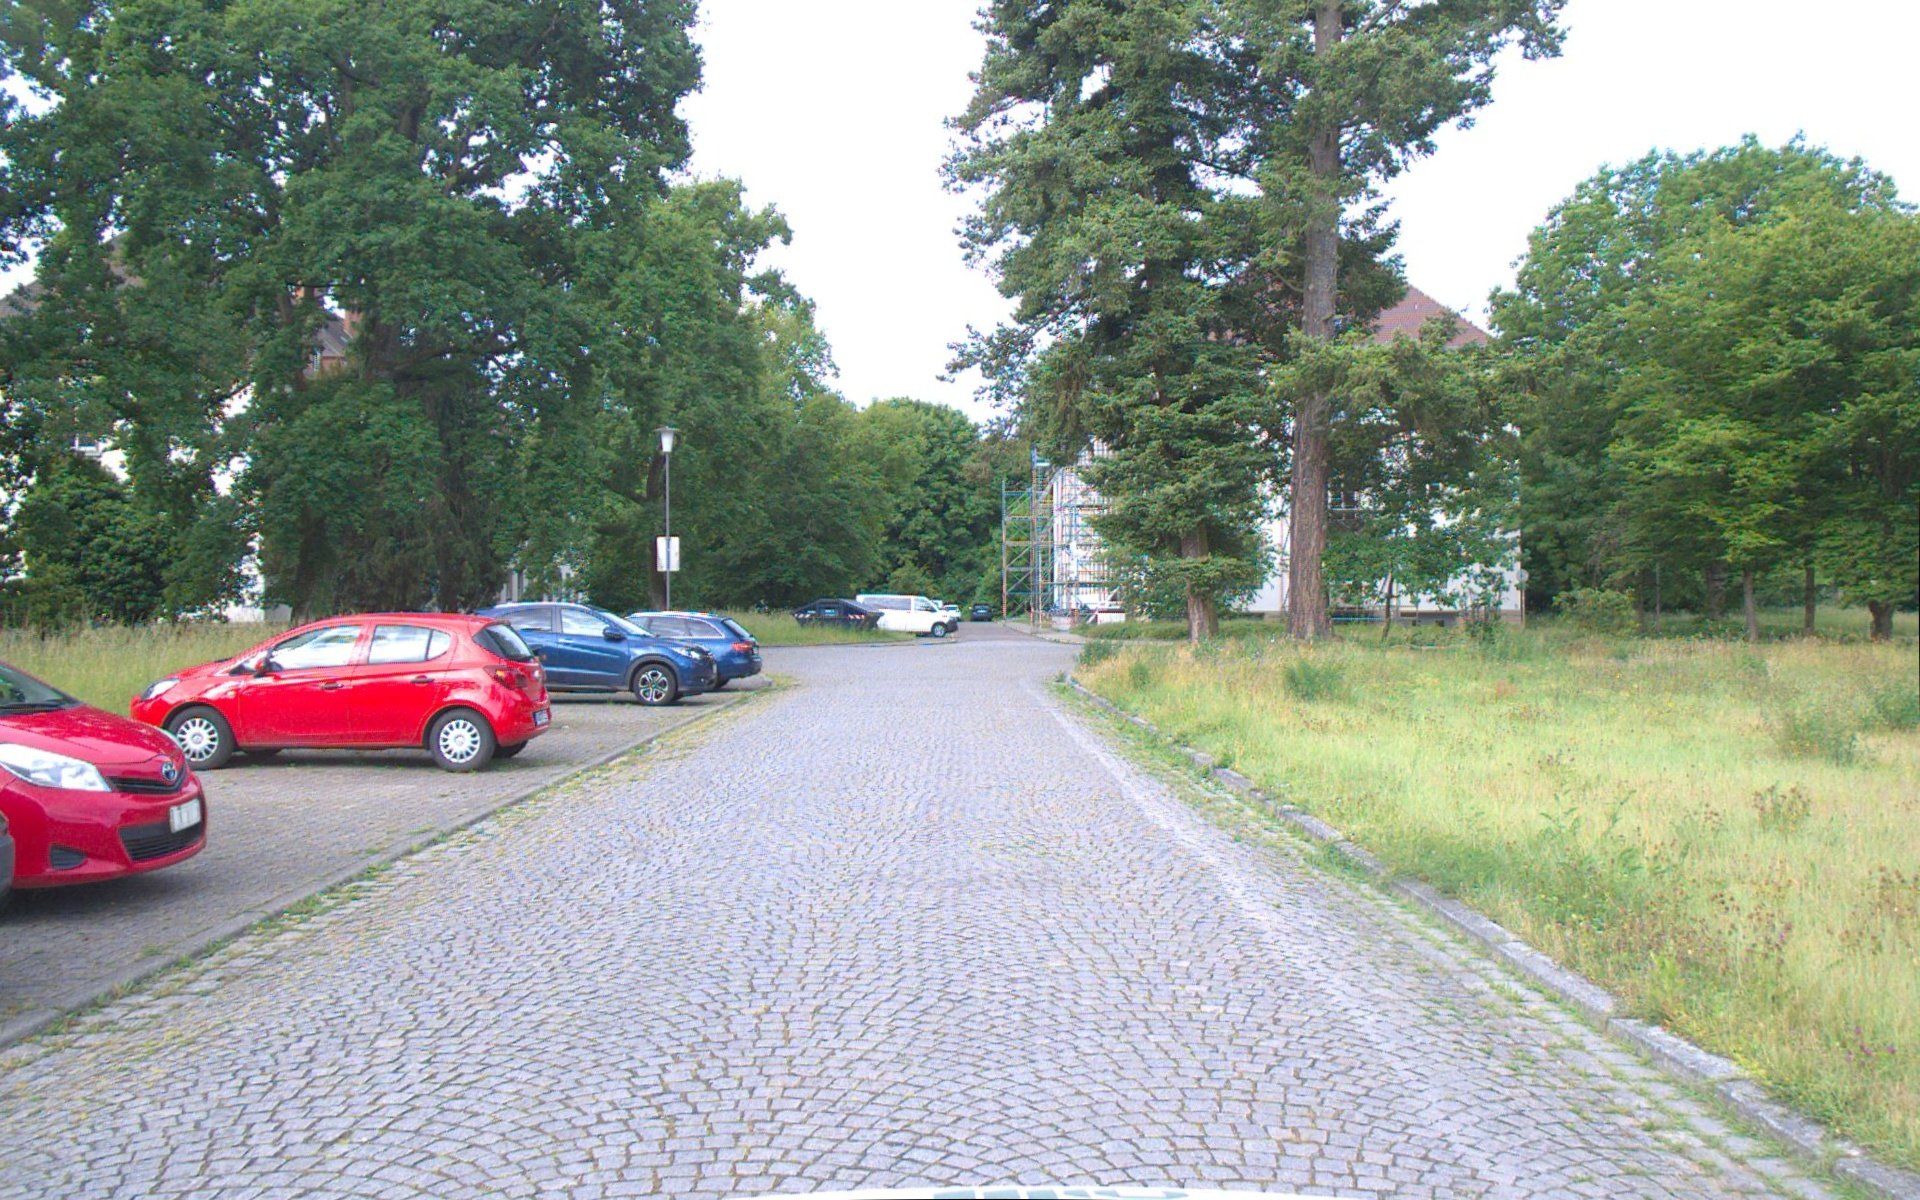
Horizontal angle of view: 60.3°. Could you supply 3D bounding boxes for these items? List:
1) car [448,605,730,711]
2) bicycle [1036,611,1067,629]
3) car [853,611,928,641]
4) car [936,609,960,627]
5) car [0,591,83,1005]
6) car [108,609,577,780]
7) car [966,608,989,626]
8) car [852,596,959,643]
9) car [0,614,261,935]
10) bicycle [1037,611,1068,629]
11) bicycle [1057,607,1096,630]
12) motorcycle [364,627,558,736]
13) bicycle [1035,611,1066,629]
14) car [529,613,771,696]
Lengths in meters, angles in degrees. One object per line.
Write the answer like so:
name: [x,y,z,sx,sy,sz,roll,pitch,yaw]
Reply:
car: [-5.924,0.912,26.778,4.143,1.605,1.886,1,0,-2]
bicycle: [6.550,1.420,118.443,2.194,1.276,0.698,0,-1,1]
car: [-3.513,1.295,82.957,3.713,1.420,1.999,0,-1,-4]
car: [-1.074,1.559,146.394,2.076,1.548,3.998,0,-1,-2]
car: [-5.856,0.811,6.172,4.083,1.650,1.985,-1,0,-3]
car: [-6.026,0.892,16.540,3.973,1.552,1.904,-1,0,-2]
car: [1.547,1.522,146.731,1.912,1.548,3.998,0,-1,-2]
car: [-2.642,0.951,80.381,5.130,2.206,1.999,0,-1,-3]
car: [-6.217,0.872,8.906,4.082,1.537,1.906,-1,0,-2]
bicycle: [6.540,1.399,116.926,2.194,1.276,0.627,0,-1,1]
bicycle: [6.718,1.067,95.396,2.194,1.276,0.778,0,-1,1]
motorcycle: [-6.316,1.025,21.010,2.228,1.314,0.719,1,0,0]
bicycle: [6.547,1.433,119.287,2.194,1.276,0.634,0,-1,1]
car: [-5.833,1.015,31.511,4.214,1.486,1.975,1,0,0]
